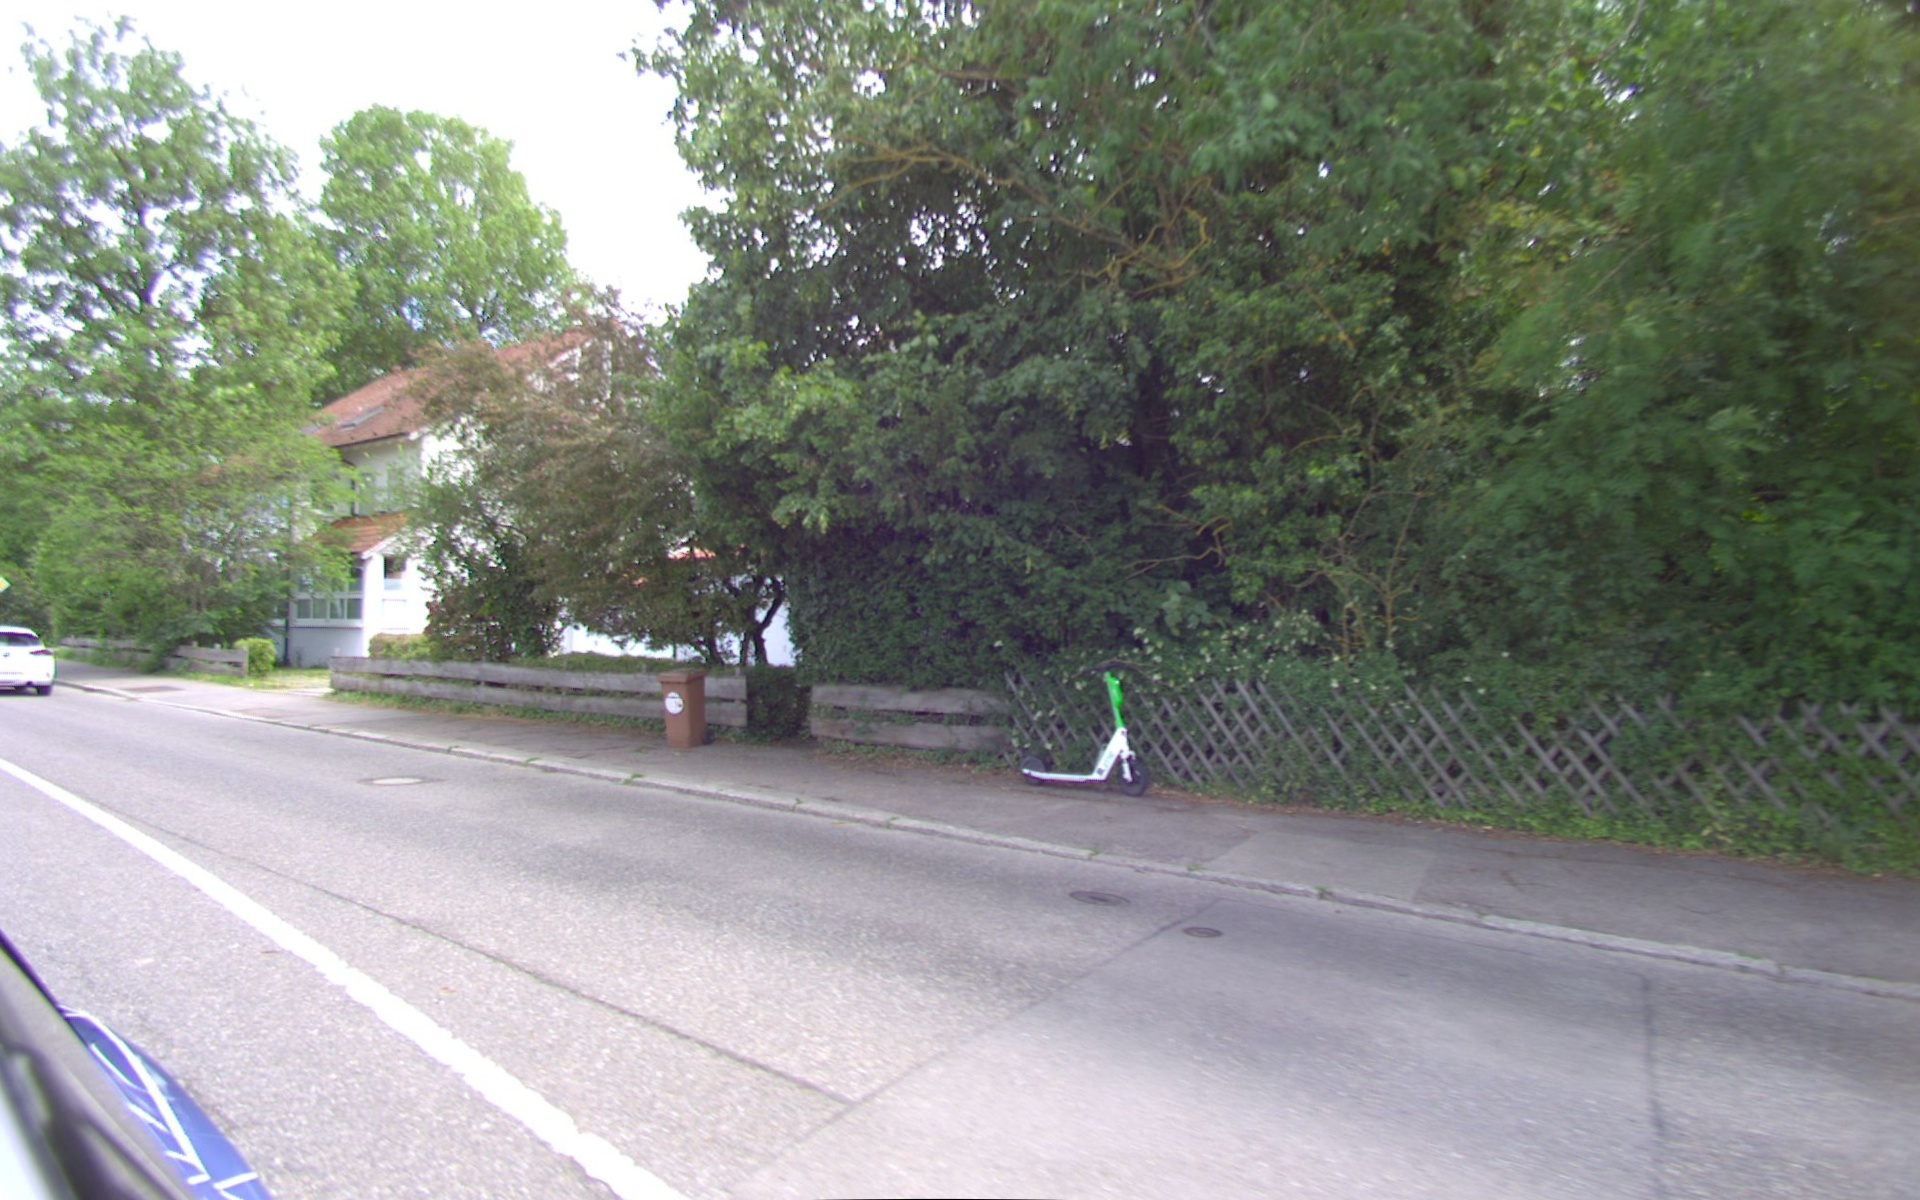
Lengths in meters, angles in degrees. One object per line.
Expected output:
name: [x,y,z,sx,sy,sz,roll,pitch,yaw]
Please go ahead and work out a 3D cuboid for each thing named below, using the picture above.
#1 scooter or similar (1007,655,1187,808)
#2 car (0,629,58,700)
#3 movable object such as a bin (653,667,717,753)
scooter or similar: [1.189,1.115,9.005,1.638,1.208,0.404,-1,-2,41]
car: [-20.990,1.334,21.692,3.780,1.441,1.678,-1,-4,37]
movable object such as a bin: [-3.287,1.297,12.089,0.568,0.952,0.508,-1,-1,39]
